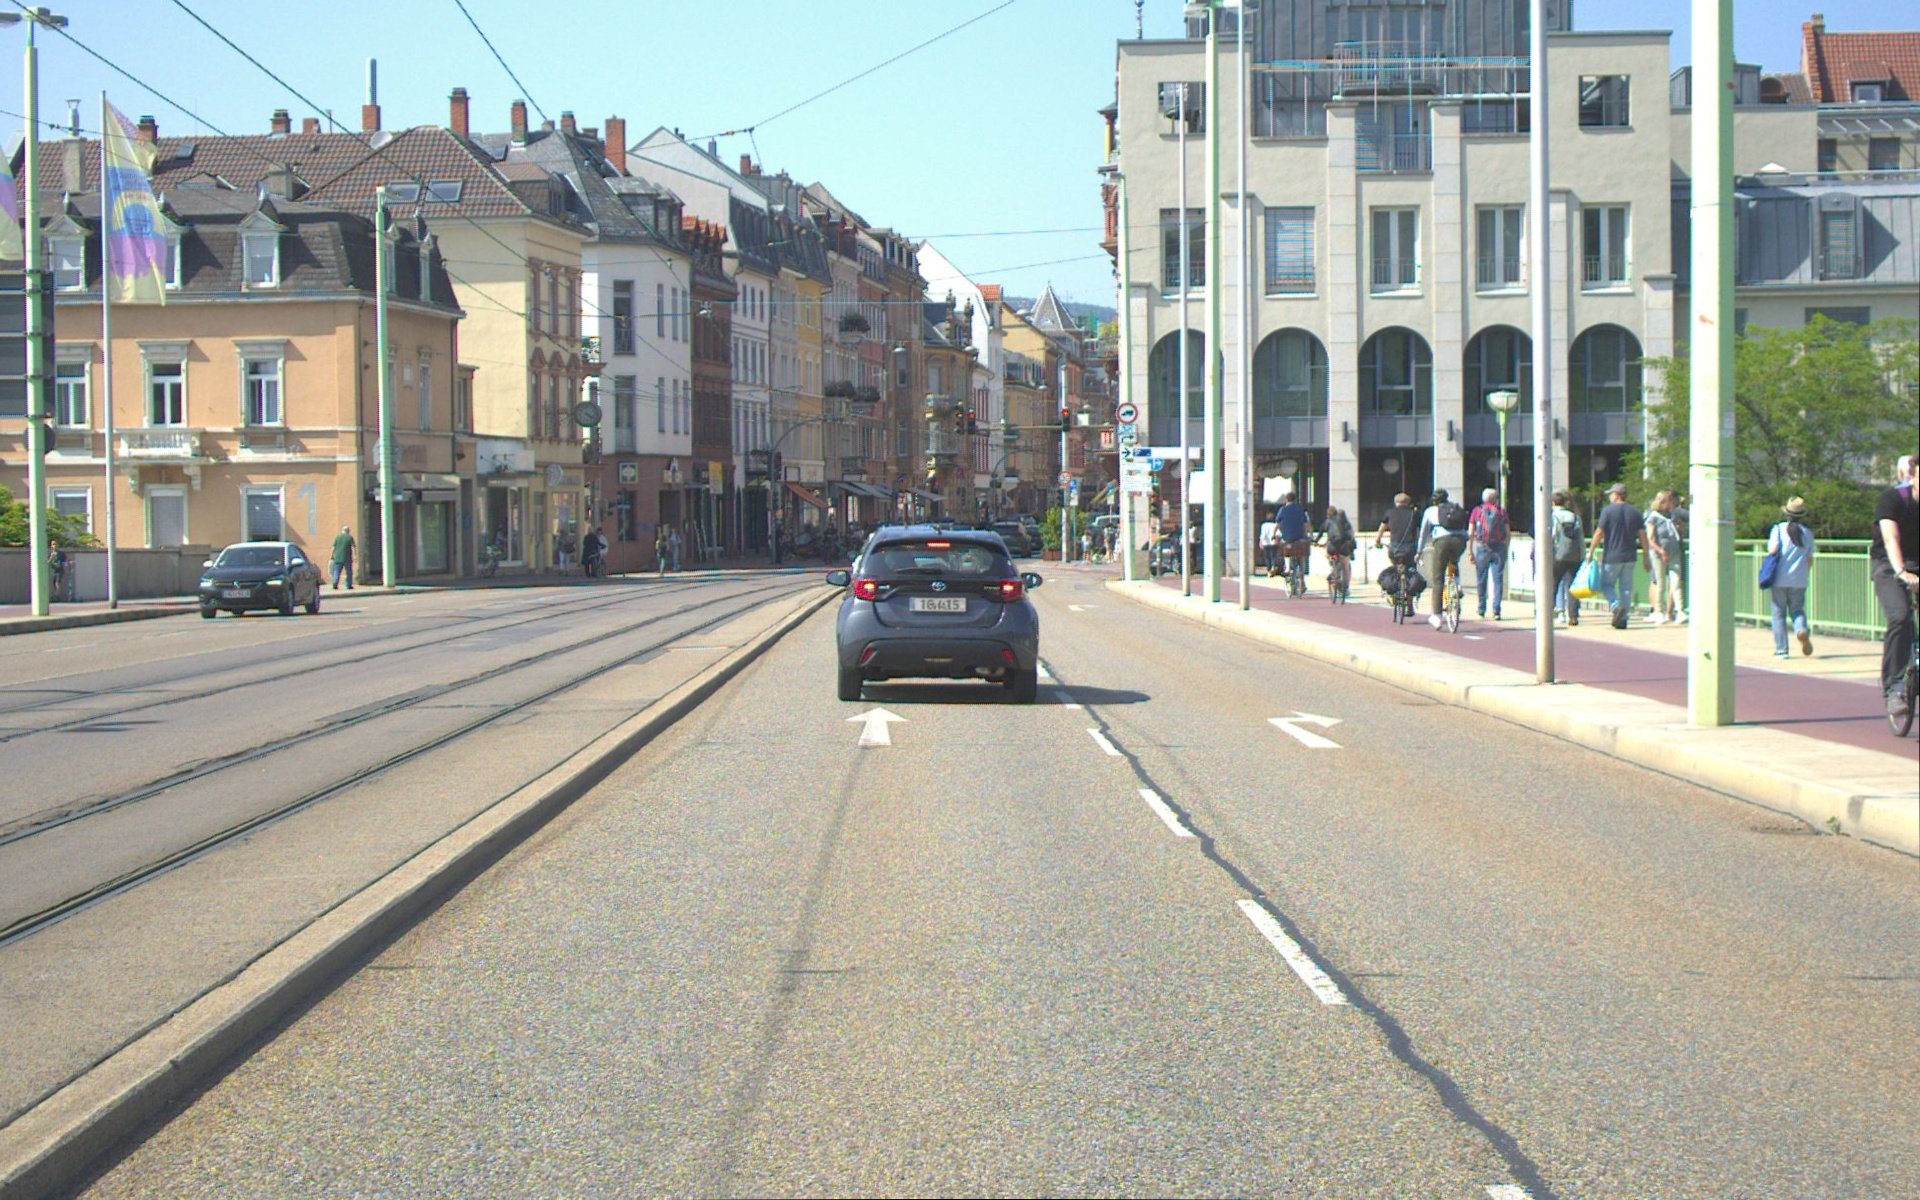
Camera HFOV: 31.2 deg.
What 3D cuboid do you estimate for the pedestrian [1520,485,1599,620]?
[{"bbox_3d":[7.612,-0.612,43.661,0.834,1.683,0.869,0,2,-1],"label":"pedestrian"}]

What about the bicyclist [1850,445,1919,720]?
[{"bbox_3d":[5.676,-0.121,20.269,0.653,1.561,1.337,-2,1,9],"label":"bicyclist"}]

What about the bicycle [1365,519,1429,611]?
[{"bbox_3d":[5.847,-0.482,46.080,0.526,1.174,2.029,1,2,-2],"label":"bicycle"}]

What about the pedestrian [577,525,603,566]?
[{"bbox_3d":[-12.537,-1.848,116.484,0.763,1.393,0.663,0,2,2],"label":"pedestrian"}]

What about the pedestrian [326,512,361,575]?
[{"bbox_3d":[-16.333,-1.511,91.122,0.763,1.659,0.663,0,2,2],"label":"pedestrian"}]

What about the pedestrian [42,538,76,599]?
[{"bbox_3d":[-19.410,-0.683,74.064,0.573,1.300,0.543,0,2,2],"label":"pedestrian"}]

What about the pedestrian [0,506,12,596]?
[{"bbox_3d":[-19.552,-0.987,69.115,0.763,1.780,0.663,0,2,2],"label":"pedestrian"}]

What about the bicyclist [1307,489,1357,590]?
[{"bbox_3d":[6.263,-1.026,57.846,0.715,1.670,0.869,0,2,-2],"label":"bicyclist"}]

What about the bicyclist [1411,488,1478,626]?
[{"bbox_3d":[5.907,-0.535,41.949,0.656,1.670,0.869,0,2,-2],"label":"bicyclist"}]

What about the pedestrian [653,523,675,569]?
[{"bbox_3d":[-11.175,-2.041,129.806,0.763,1.693,0.663,0,2,2],"label":"pedestrian"}]

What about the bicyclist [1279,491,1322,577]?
[{"bbox_3d":[6.696,-1.309,67.613,0.796,1.670,0.869,0,2,3],"label":"bicyclist"}]

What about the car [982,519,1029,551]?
[{"bbox_3d":[2.086,-3.013,157.841,1.878,1.404,4.000,0,2,5],"label":"car"}]

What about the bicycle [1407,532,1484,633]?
[{"bbox_3d":[5.909,-0.229,41.910,0.593,1.174,1.940,0,2,-2],"label":"bicycle"}]

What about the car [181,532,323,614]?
[{"bbox_3d":[-13.705,-0.550,66.739,1.993,1.474,4.001,0,2,-1],"label":"car"}]

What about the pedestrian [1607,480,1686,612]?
[{"bbox_3d":[8.850,-0.703,44.314,0.834,1.683,0.869,0,2,-1],"label":"pedestrian"}]

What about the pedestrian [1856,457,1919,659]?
[{"bbox_3d":[8.612,-0.389,31.225,0.712,1.804,0.848,0,2,-1],"label":"pedestrian"}]

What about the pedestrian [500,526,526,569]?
[{"bbox_3d":[-14.795,-1.736,113.778,0.763,1.393,0.663,0,2,2],"label":"pedestrian"}]

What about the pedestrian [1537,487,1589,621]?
[{"bbox_3d":[7.906,-0.608,45.104,0.528,1.742,0.728,-1,1,-1],"label":"pedestrian"}]

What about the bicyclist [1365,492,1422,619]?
[{"bbox_3d":[5.810,-0.608,46.136,0.627,1.683,0.869,0,2,-2],"label":"bicyclist"}]

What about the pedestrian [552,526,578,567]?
[{"bbox_3d":[-13.453,-1.832,117.166,0.763,1.393,0.663,0,2,2],"label":"pedestrian"}]

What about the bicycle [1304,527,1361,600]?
[{"bbox_3d":[6.264,-0.626,57.880,0.666,1.174,2.029,0,2,-2],"label":"bicycle"}]

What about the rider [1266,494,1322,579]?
[{"bbox_3d":[5.969,-1.134,61.472,0.889,1.499,0.841,0,2,-2],"label":"rider"}]

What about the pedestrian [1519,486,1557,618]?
[{"bbox_3d":[7.927,-0.657,47.163,0.367,1.788,0.604,1,1,-1],"label":"pedestrian"}]

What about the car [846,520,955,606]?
[{"bbox_3d":[-1.131,-0.716,63.631,1.803,1.464,4.001,-2,2,-3],"label":"car"}]

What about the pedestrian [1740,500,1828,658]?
[{"bbox_3d":[7.719,-0.207,32.212,0.613,1.460,0.848,0,2,-1],"label":"pedestrian"}]

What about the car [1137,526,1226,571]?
[{"bbox_3d":[8.041,-1.863,124.381,1.806,1.464,3.995,-1,2,26],"label":"car"}]

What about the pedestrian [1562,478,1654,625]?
[{"bbox_3d":[7.875,-0.597,41.835,0.929,1.755,0.938,0,2,-1],"label":"pedestrian"}]

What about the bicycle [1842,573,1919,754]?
[{"bbox_3d":[5.738,0.351,20.561,0.653,0.978,2.177,-2,1,9],"label":"bicycle"}]

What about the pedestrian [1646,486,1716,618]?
[{"bbox_3d":[9.075,-0.612,43.294,0.712,1.645,0.848,0,2,0],"label":"pedestrian"}]

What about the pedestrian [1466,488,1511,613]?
[{"bbox_3d":[7.210,-0.677,46.920,0.426,1.666,0.620,2,1,-1],"label":"pedestrian"}]

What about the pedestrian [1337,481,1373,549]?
[{"bbox_3d":[8.513,-1.837,74.153,0.656,1.446,0.644,0,2,-3],"label":"pedestrian"}]

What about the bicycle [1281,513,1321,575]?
[{"bbox_3d":[6.705,-1.111,67.690,0.666,1.174,2.029,0,2,3],"label":"bicycle"}]

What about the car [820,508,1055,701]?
[{"bbox_3d":[-0.270,-0.011,30.961,1.910,1.535,4.001,1,3,-3],"label":"car"}]
